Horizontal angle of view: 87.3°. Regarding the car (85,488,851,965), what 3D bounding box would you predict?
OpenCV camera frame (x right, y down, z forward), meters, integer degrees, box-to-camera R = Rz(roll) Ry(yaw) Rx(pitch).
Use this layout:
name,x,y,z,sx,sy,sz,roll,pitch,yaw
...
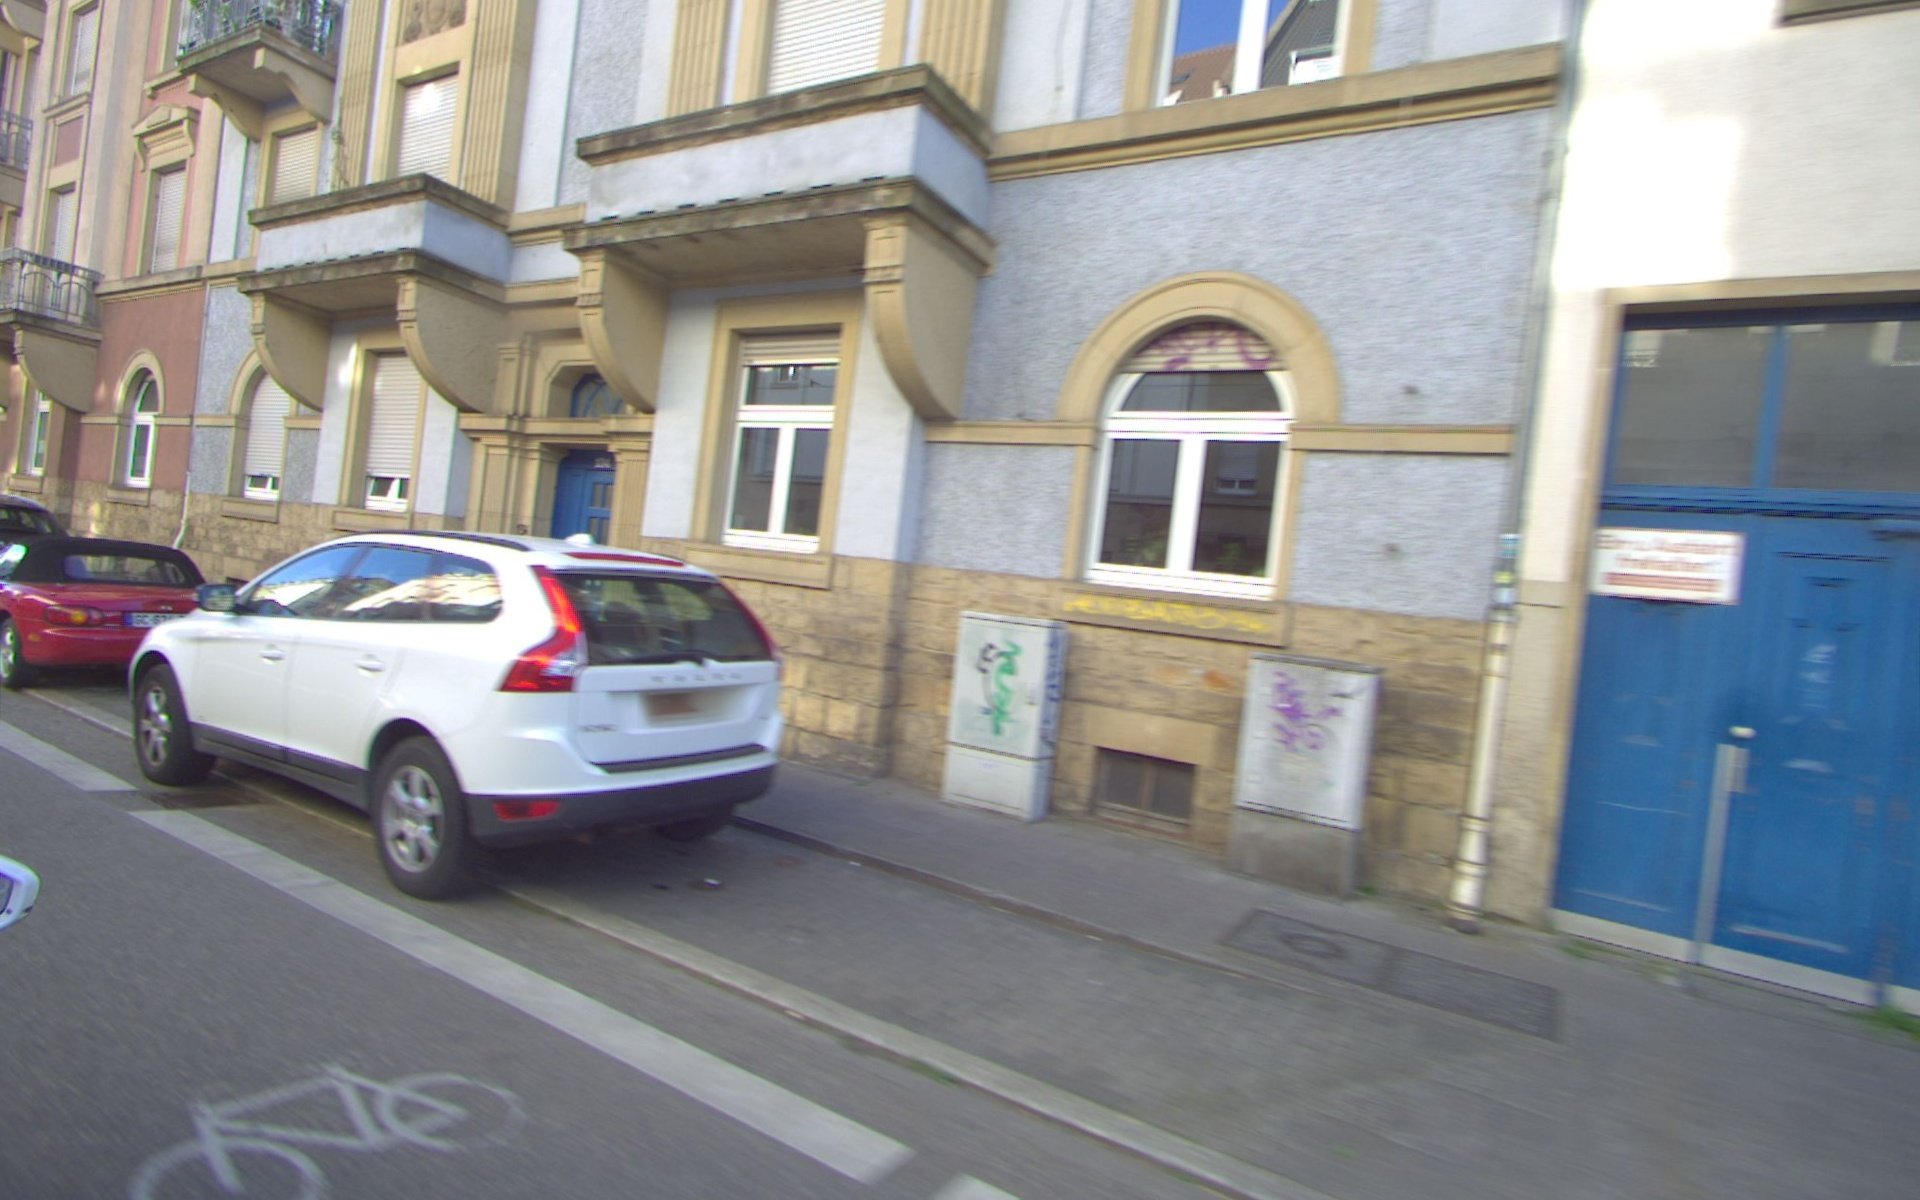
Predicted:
name,x,y,z,sx,sy,sz,roll,pitch,yaw
car,-3.034,0.441,5.899,4.430,1.711,1.845,7,-1,32

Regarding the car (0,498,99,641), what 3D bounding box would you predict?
name,x,y,z,sx,sy,sz,roll,pitch,yaw
car,-12.242,-0.561,11.950,4.399,1.501,1.657,7,-1,31

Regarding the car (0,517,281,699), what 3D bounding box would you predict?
name,x,y,z,sx,sy,sz,roll,pitch,yaw
car,-8.318,-0.033,9.410,4.433,1.264,1.656,7,-1,34
